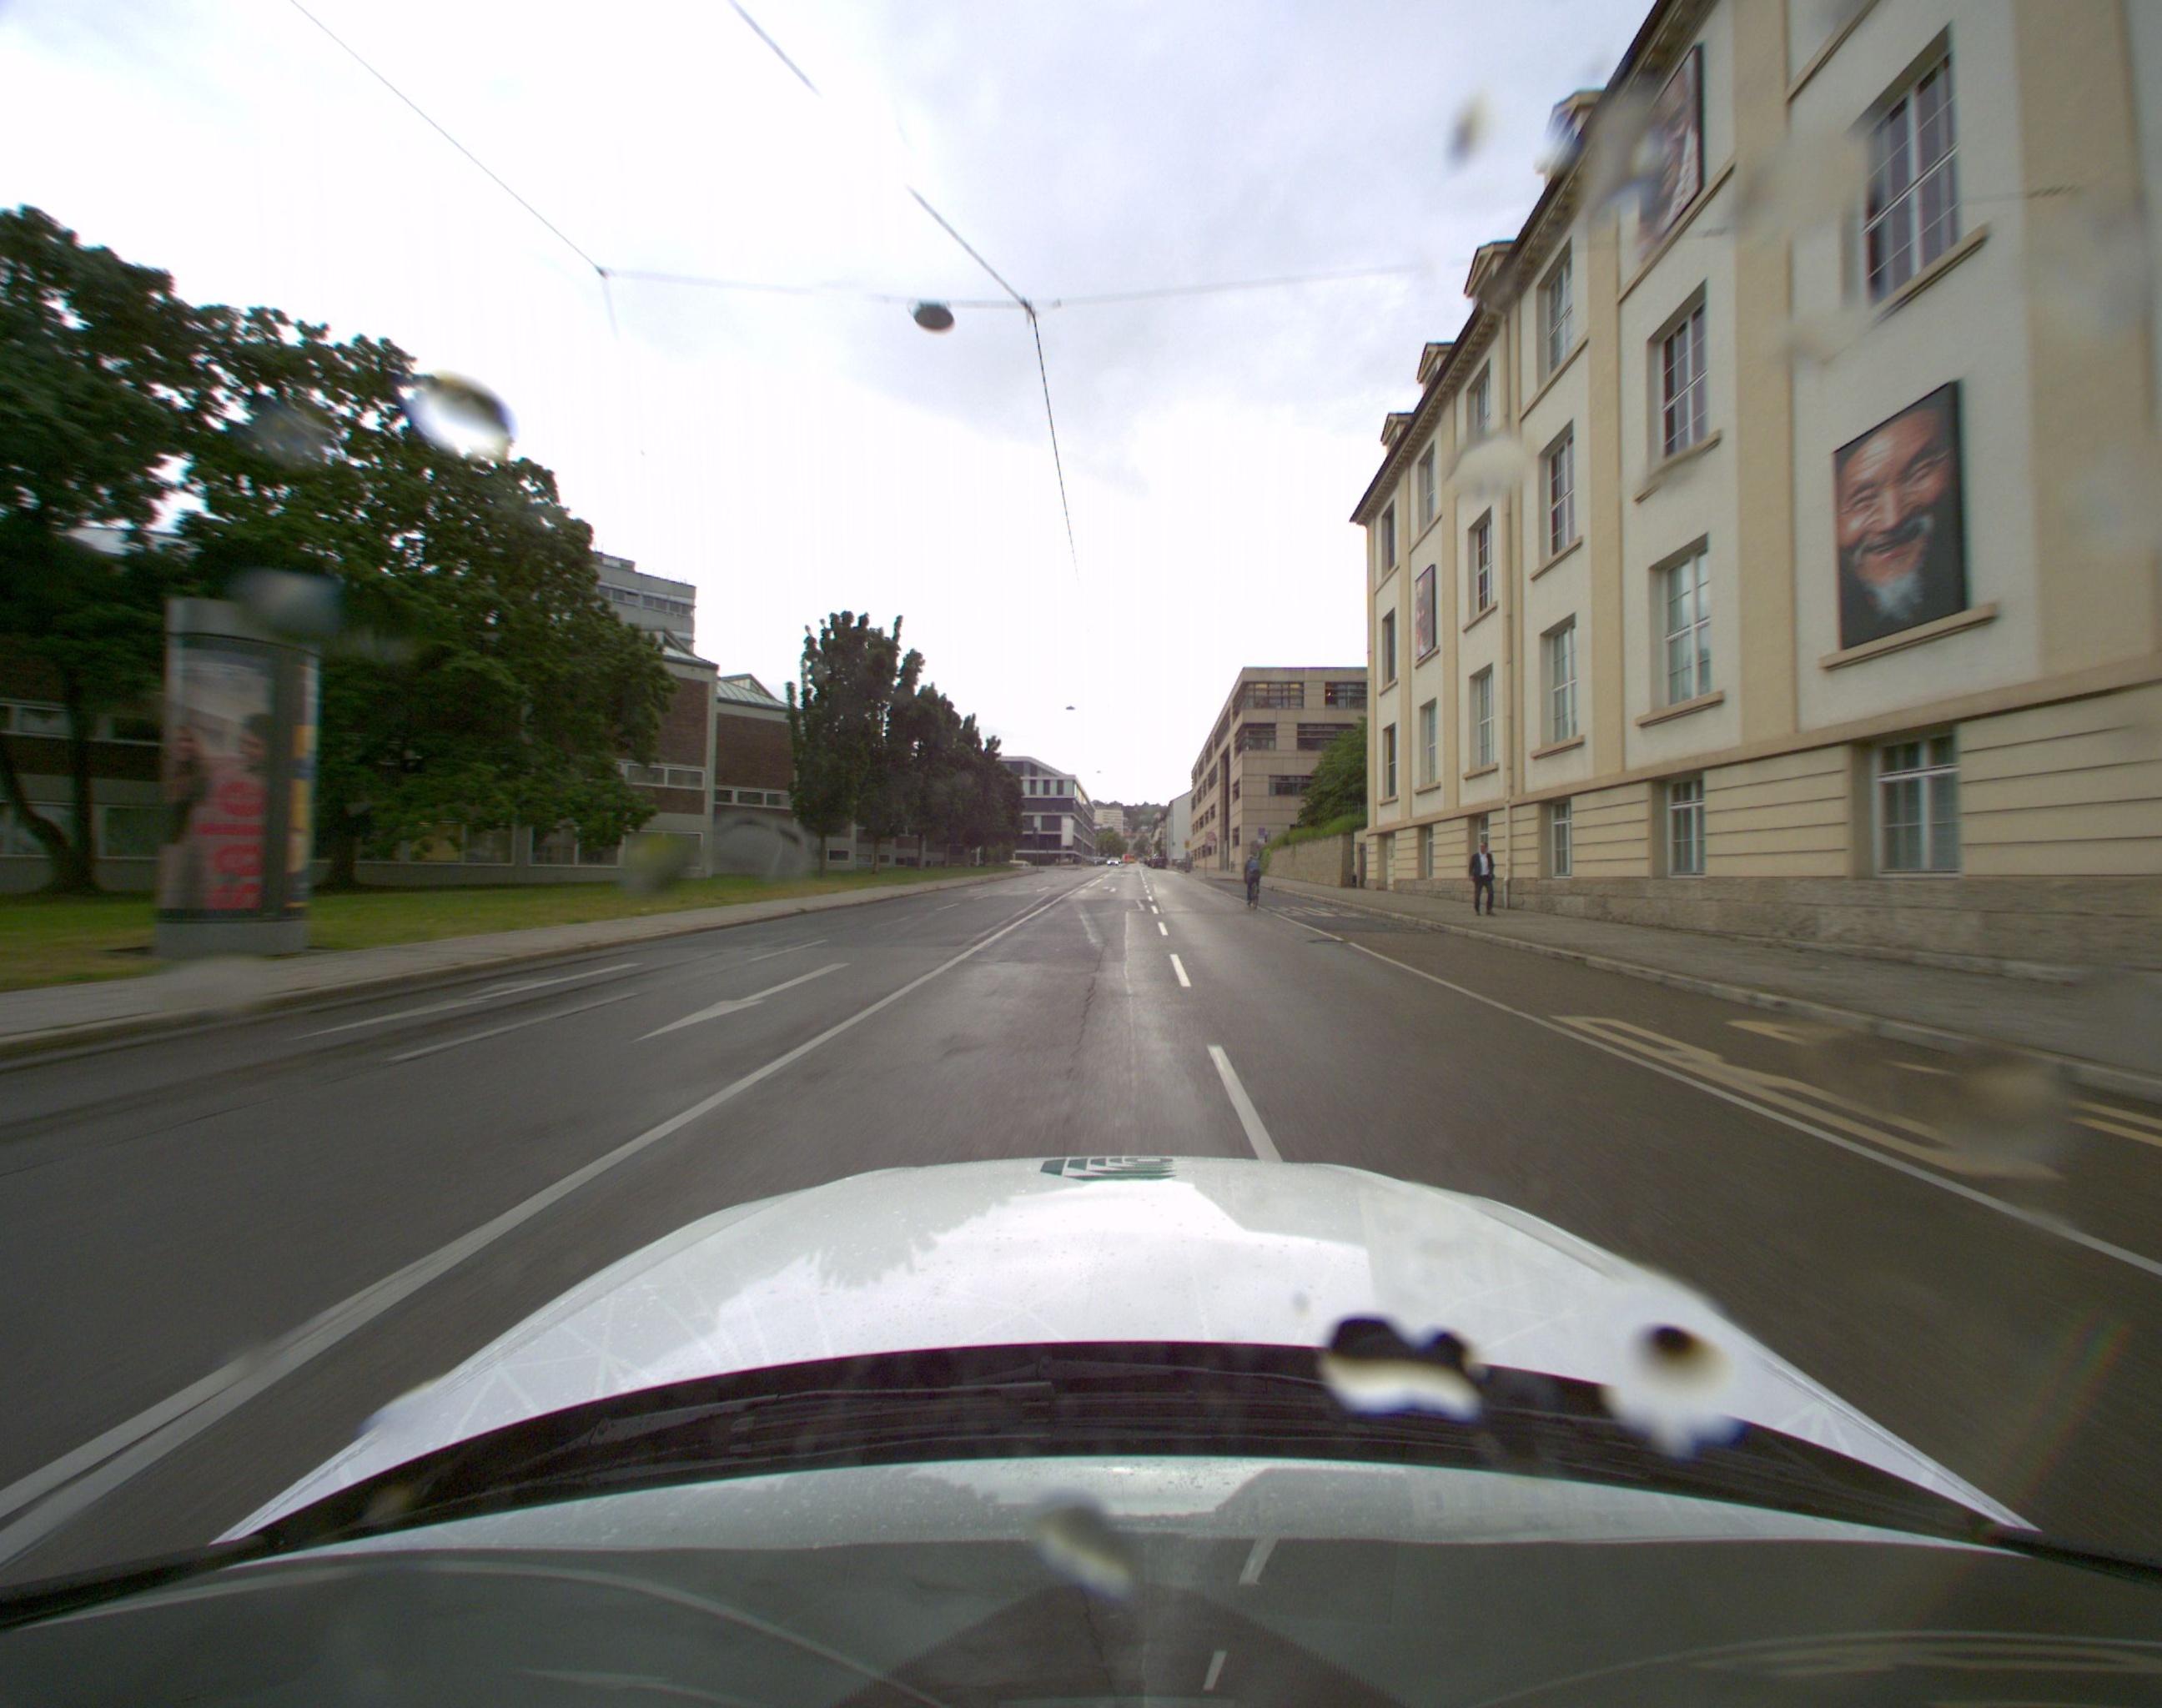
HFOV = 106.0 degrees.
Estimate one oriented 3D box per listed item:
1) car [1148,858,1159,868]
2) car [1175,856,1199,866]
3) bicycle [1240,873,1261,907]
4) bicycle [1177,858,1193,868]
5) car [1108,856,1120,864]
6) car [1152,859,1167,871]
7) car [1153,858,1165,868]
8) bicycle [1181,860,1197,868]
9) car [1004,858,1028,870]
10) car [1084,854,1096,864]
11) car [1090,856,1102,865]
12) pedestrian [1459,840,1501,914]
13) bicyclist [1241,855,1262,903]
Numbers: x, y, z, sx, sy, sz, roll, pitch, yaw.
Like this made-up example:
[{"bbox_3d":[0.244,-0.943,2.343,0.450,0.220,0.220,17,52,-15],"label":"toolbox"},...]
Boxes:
[{"bbox_3d":[13.223,1.584,149.050,1.927,1.750,4.801,2,-1,4],"label":"car"},{"bbox_3d":[20.442,1.428,157.384,4.420,1.713,1.906,-2,-1,3],"label":"car"},{"bbox_3d":[5.163,1.078,24.806,0.445,0.963,1.693,1,0,6],"label":"bicycle"},{"bbox_3d":[11.976,1.076,93.464,1.724,1.119,0.659,1,-1,-2],"label":"bicycle"},{"bbox_3d":[6.166,1.160,153.226,1.872,1.491,5.229,-1,0,6],"label":"car"},{"bbox_3d":[11.209,1.607,116.405,1.764,1.604,4.397,2,-1,2],"label":"car"},{"bbox_3d":[12.656,1.509,132.574,1.736,1.533,4.321,2,-1,2],"label":"car"},{"bbox_3d":[12.261,1.154,92.465,1.753,0.953,0.660,1,-1,0],"label":"bicycle"},{"bbox_3d":[-12.562,2.019,158.142,4.578,2.174,1.929,2,-1,-3],"label":"car"},{"bbox_3d":[1.574,0.954,145.021,1.841,1.617,4.495,2,-1,4],"label":"car"},{"bbox_3d":[2.979,1.353,161.826,1.953,1.750,4.950,2,-1,6],"label":"car"},{"bbox_3d":[9.855,0.562,20.133,0.667,1.798,0.853,-1,-1,5],"label":"pedestrian"},{"bbox_3d":[5.159,0.749,24.699,0.482,1.433,0.931,2,-1,6],"label":"bicyclist"}]
